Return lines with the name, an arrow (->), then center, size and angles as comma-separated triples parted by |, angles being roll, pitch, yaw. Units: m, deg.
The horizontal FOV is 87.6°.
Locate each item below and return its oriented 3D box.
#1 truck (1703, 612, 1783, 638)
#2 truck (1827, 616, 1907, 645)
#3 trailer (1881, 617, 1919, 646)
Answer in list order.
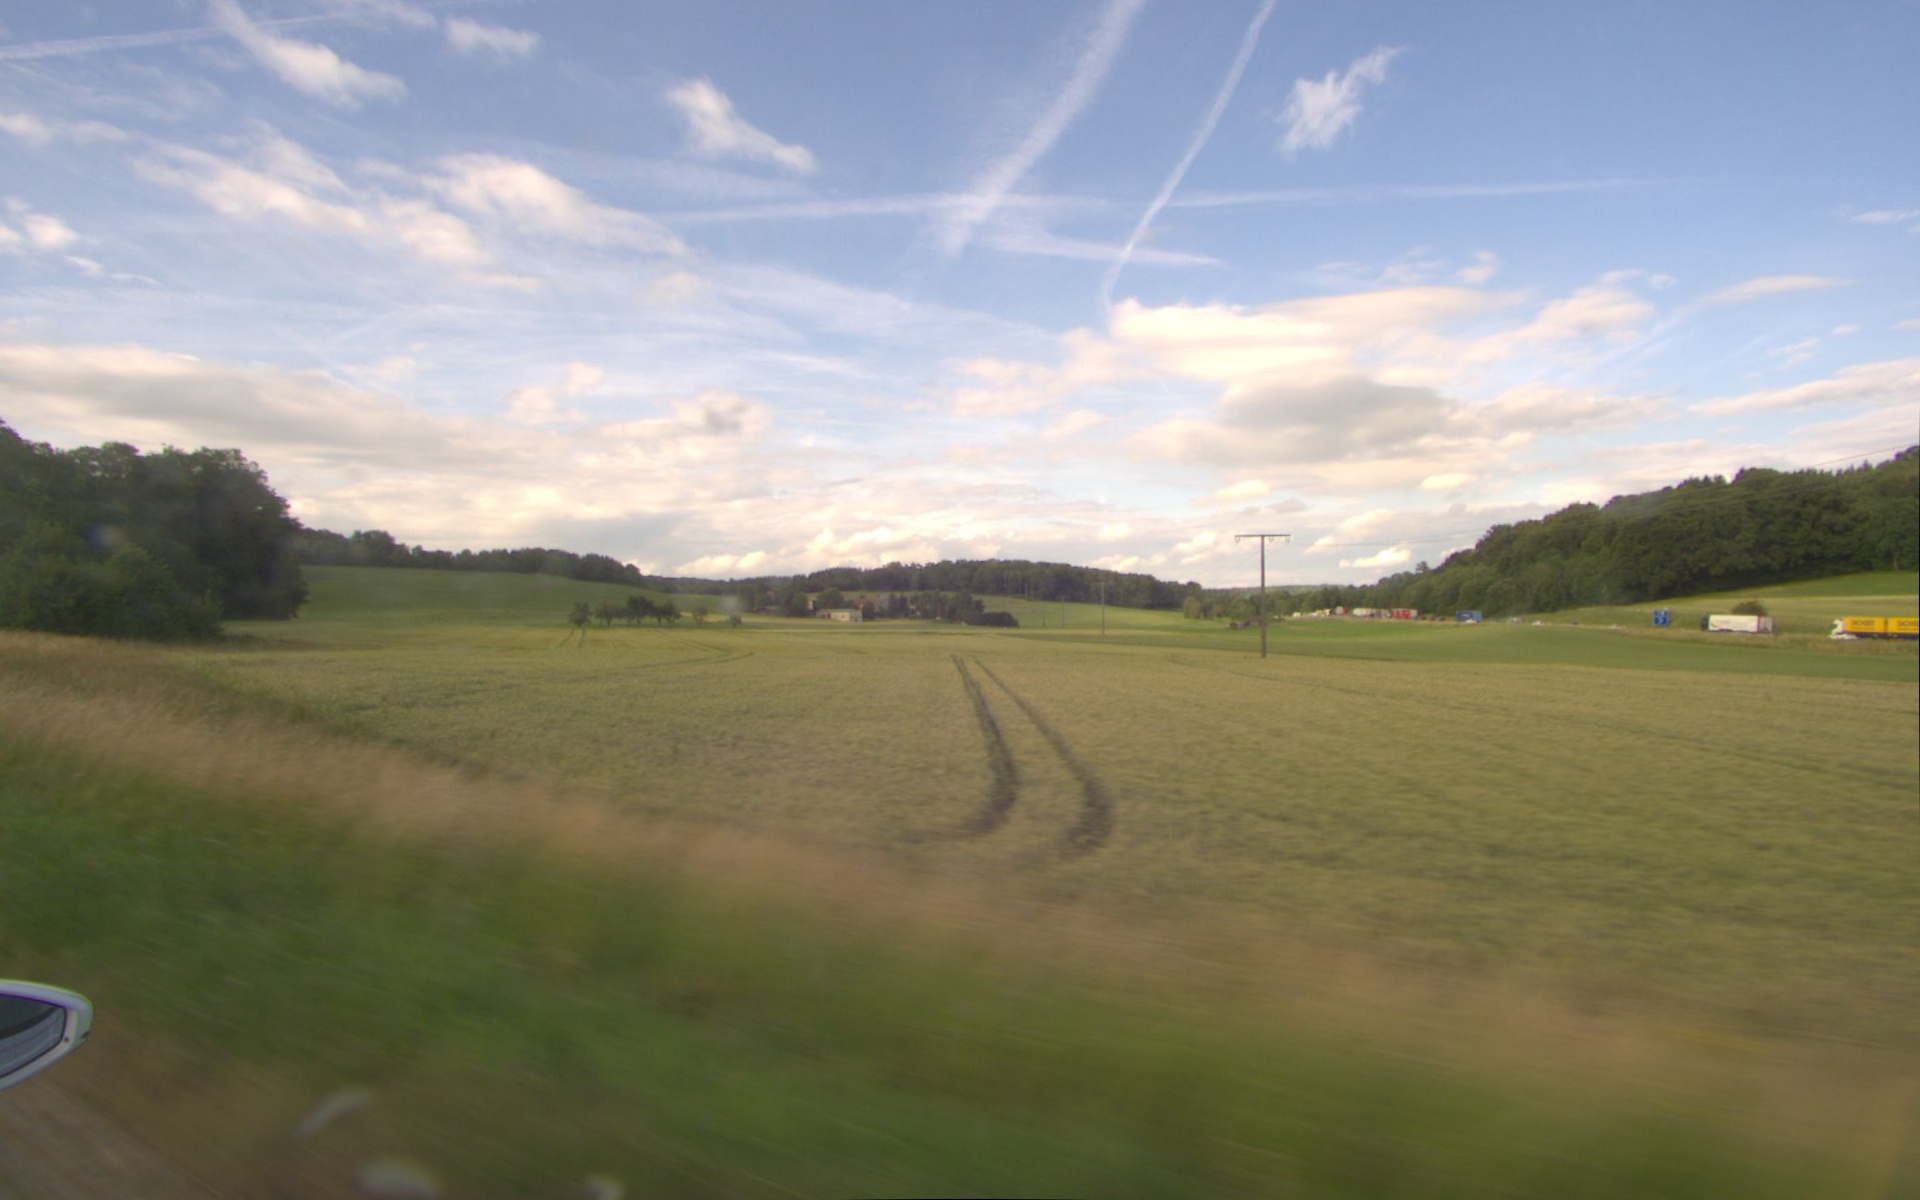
truck -> 146.391, 4.569, 187.590 | 4.001, 4.048, 14.421 | -5, 0, 2
truck -> 143.317, 4.749, 158.443 | 3.763, 4.113, 9.802 | -3, -1, 1
trailer -> 143.238, 4.643, 149.048 | 3.763, 4.113, 9.129 | -3, -1, 0
